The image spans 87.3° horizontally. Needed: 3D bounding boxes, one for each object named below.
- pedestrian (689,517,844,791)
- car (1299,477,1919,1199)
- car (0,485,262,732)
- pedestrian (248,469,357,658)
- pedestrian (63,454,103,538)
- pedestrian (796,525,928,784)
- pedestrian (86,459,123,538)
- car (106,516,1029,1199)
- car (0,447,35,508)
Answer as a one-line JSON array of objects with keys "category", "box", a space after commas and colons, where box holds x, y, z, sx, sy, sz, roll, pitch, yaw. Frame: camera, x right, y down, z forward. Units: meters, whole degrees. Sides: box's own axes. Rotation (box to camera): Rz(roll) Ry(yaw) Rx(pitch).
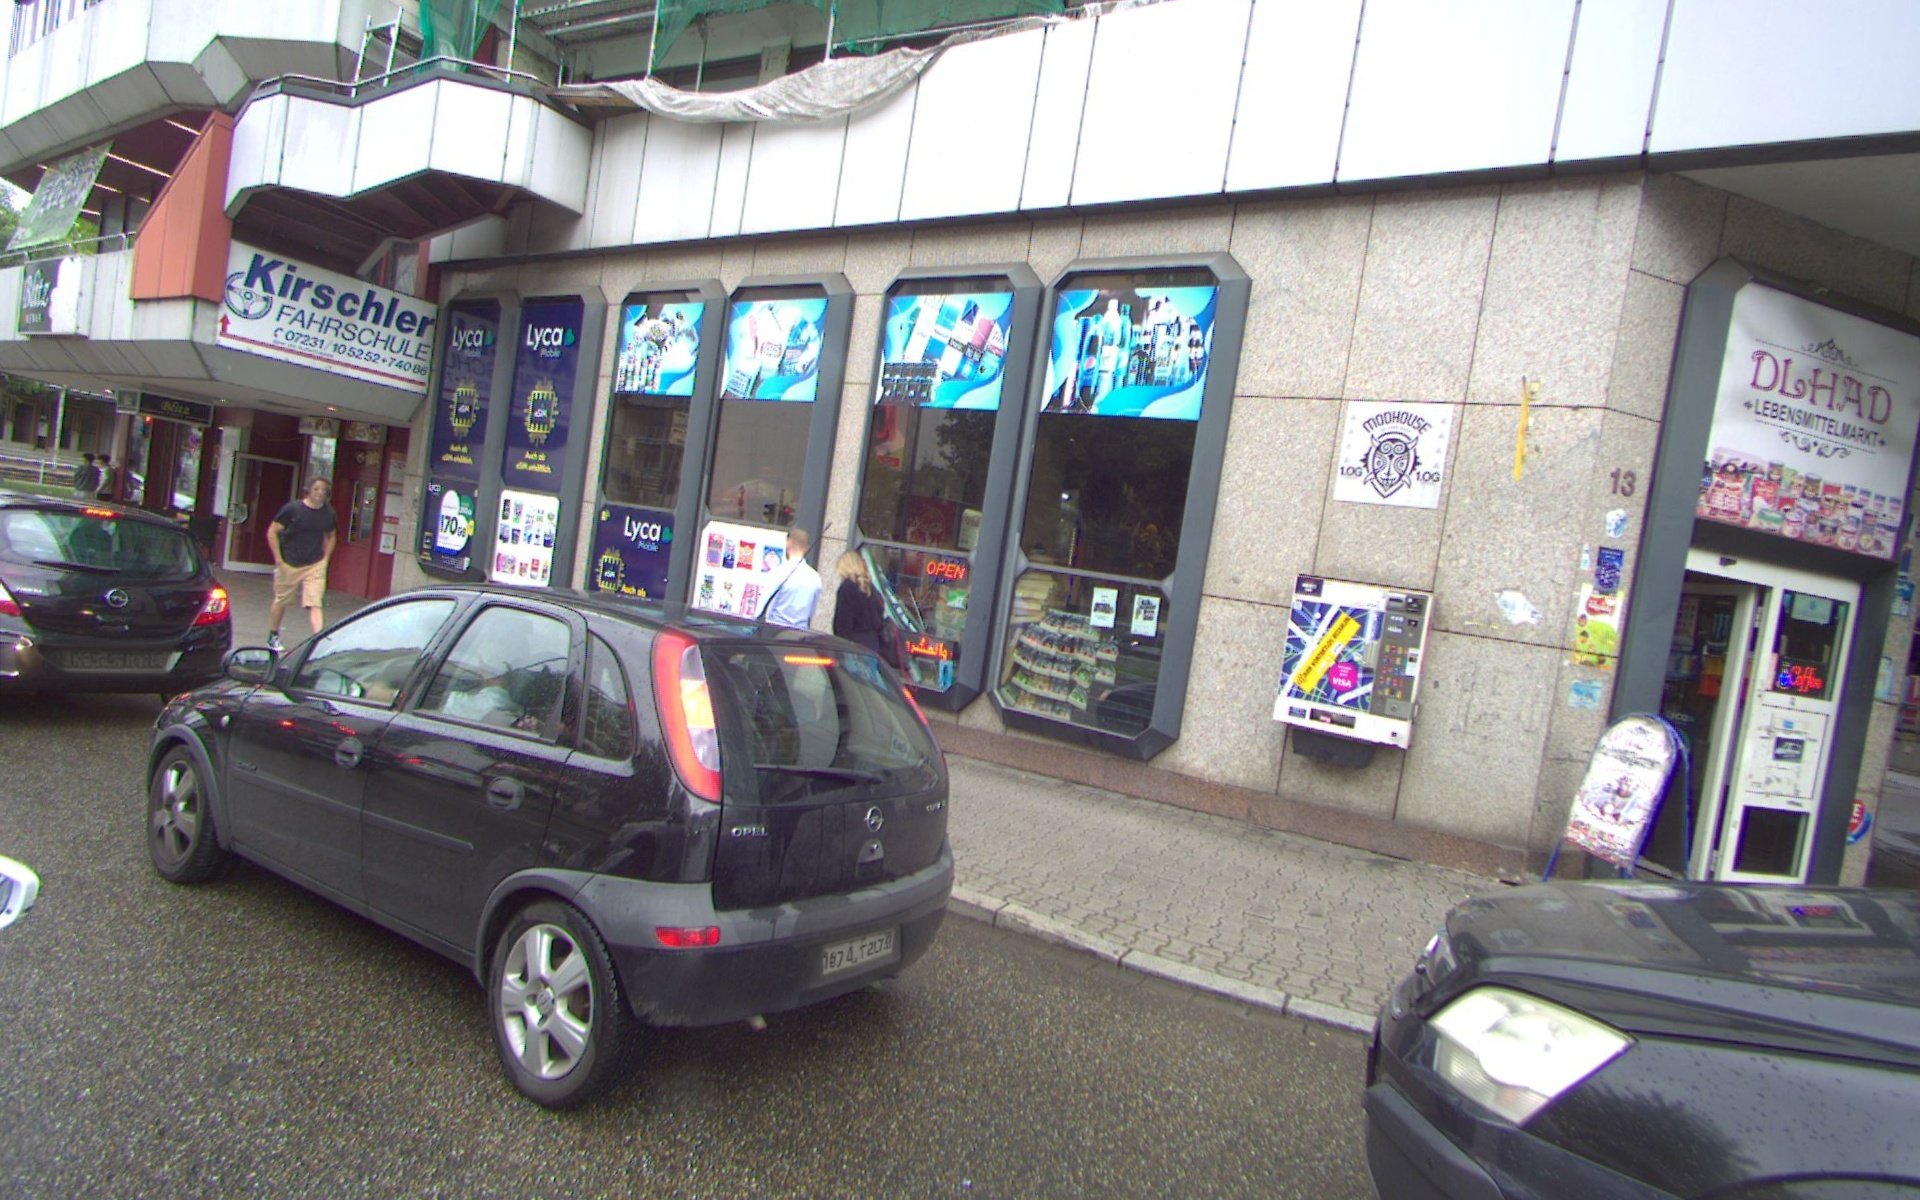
[{"category": "pedestrian", "box": [-1.471, 0.410, 7.718, 0.629, 1.957, 0.737, 6, -1, 31]}, {"category": "car", "box": [2.813, 0.988, 1.429, 4.094, 1.786, 1.763, 8, -1, 32]}, {"category": "car", "box": [-7.075, -0.108, 7.354, 3.776, 1.446, 1.620, 8, -1, 29]}, {"category": "pedestrian", "box": [-6.762, -0.373, 10.343, 0.763, 1.841, 0.739, 7, 4, 43]}, {"category": "pedestrian", "box": [-18.638, -2.205, 21.386, 0.443, 1.704, 0.426, 6, 1, 30]}, {"category": "pedestrian", "box": [-0.788, 0.411, 8.153, 0.629, 1.961, 0.736, 6, 4, 31]}, {"category": "pedestrian", "box": [-18.709, -2.216, 22.012, 0.496, 1.660, 0.396, 6, 1, 32]}, {"category": "car", "box": [-1.739, 0.628, 4.108, 3.563, 1.446, 1.609, 8, -1, 33]}, {"category": "car", "box": [-26.640, -3.466, 25.779, 1.593, 1.503, 3.911, 6, -2, 19]}]
